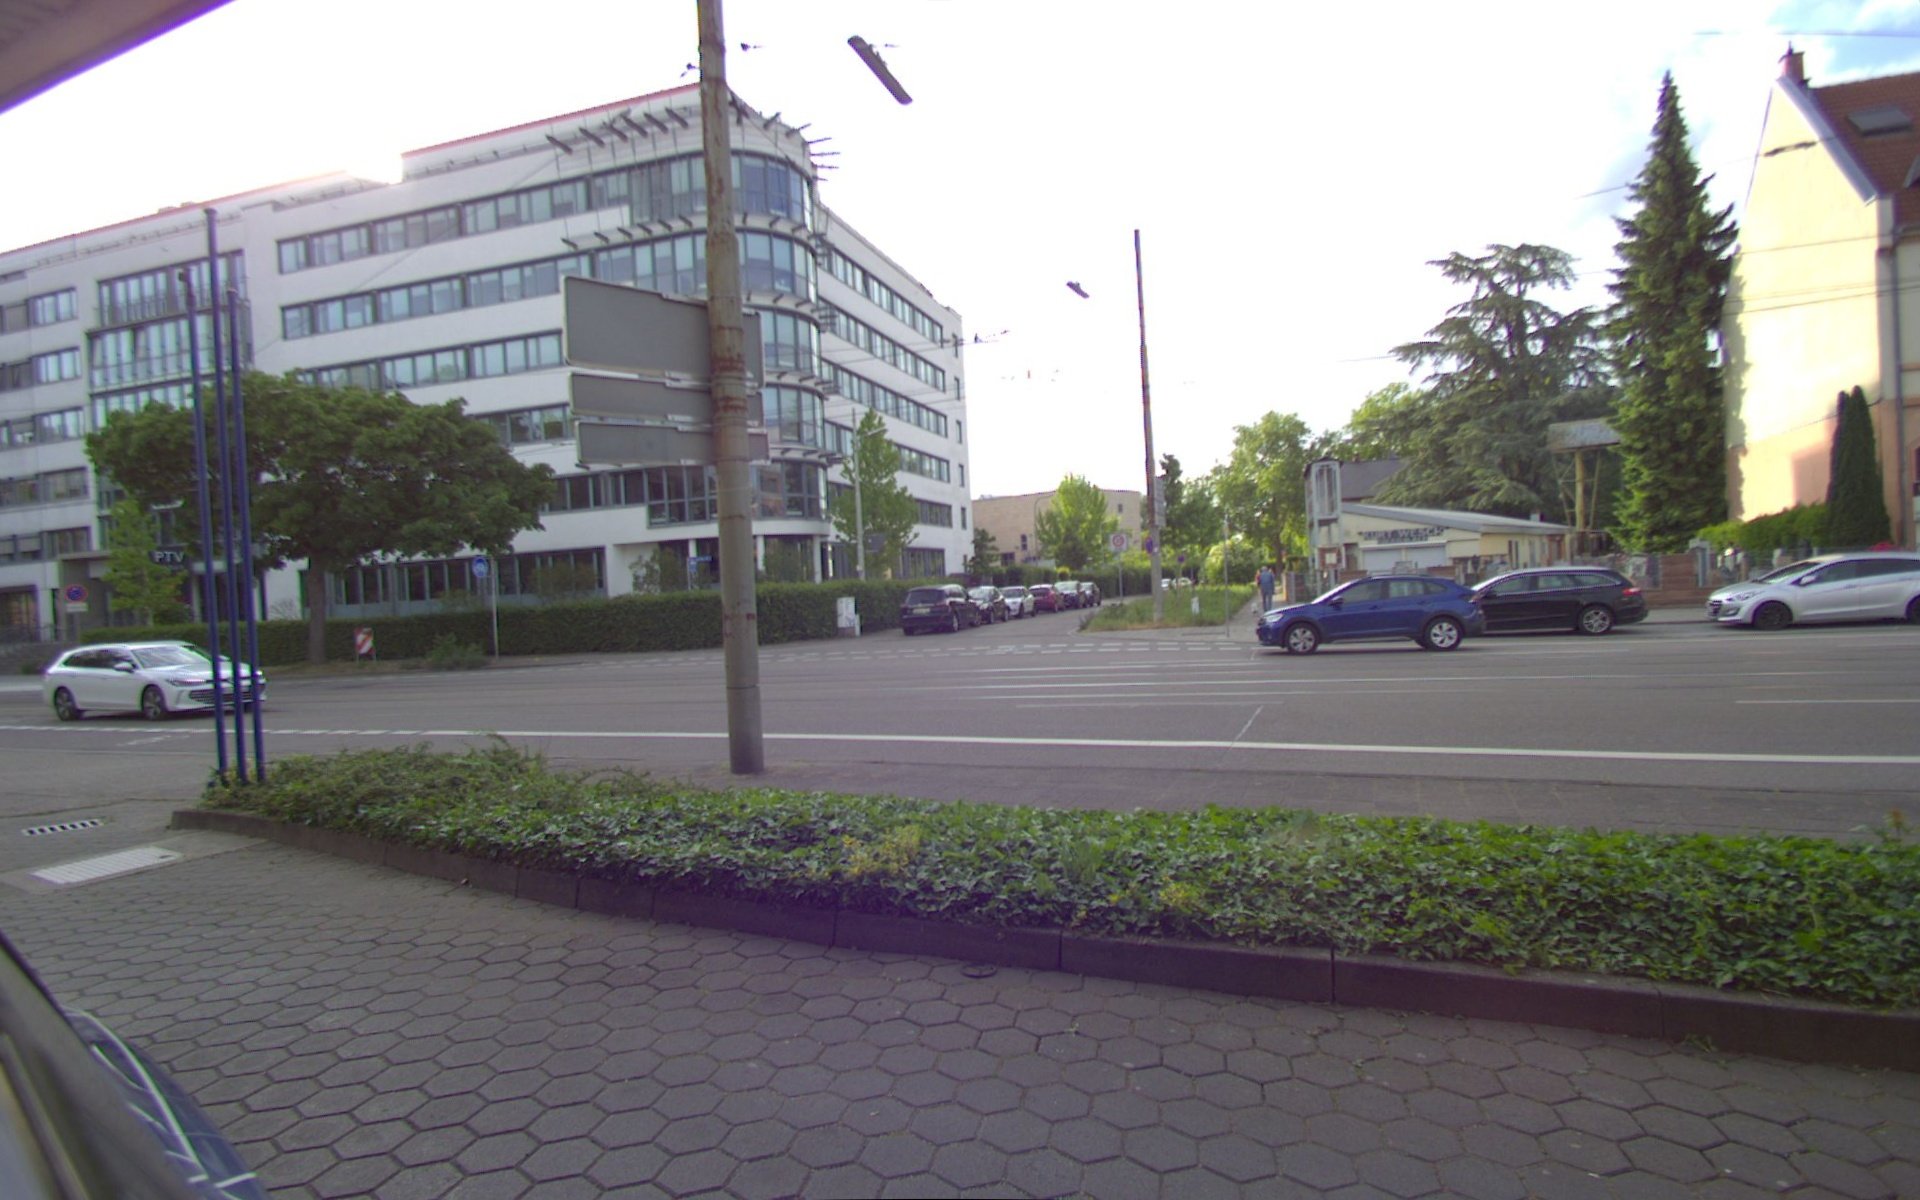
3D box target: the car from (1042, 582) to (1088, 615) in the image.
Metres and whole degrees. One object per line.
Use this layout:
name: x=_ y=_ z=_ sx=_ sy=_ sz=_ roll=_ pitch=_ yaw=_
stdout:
car: x=6.042 y=-0.136 z=57.801 sx=1.807 sy=1.704 sz=4.392 roll=-4 pitch=0 yaw=16

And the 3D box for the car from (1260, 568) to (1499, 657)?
car: x=8.143 y=0.246 z=20.058 sx=4.101 sy=1.480 sz=1.854 roll=-3 pitch=0 yaw=16

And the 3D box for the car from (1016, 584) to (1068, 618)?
car: x=4.311 y=0.023 z=52.403 sx=1.807 sy=1.589 sz=4.175 roll=-4 pitch=0 yaw=16

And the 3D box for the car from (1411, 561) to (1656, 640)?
car: x=13.026 y=0.006 z=23.364 sx=4.632 sy=1.533 sz=1.842 roll=-3 pitch=2 yaw=22

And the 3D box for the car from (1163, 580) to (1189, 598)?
car: x=22.843 y=-1.157 z=106.852 sx=1.813 sy=1.654 sz=4.040 roll=-4 pitch=0 yaw=25

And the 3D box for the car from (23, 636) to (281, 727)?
car: x=-16.158 y=1.612 z=20.234 sx=4.794 sy=1.520 sz=1.851 roll=-2 pitch=2 yaw=22

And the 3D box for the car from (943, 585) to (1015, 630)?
car: x=0.843 y=0.271 z=40.977 sx=1.807 sy=1.589 sz=4.175 roll=-4 pitch=0 yaw=16

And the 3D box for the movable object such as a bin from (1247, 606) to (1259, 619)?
movable object such as a bin: x=10.091 y=0.432 z=34.836 sx=0.363 sy=0.397 sz=0.660 roll=-2 pitch=2 yaw=14

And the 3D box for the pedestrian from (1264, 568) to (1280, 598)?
pedestrian: x=19.894 y=-1.069 z=64.528 sx=0.965 sy=1.896 sz=1.056 roll=-1 pitch=0 yaw=18

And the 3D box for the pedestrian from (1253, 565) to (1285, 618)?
pedestrian: x=10.416 y=-0.289 z=34.147 sx=0.901 sy=1.712 sz=0.921 roll=-3 pitch=2 yaw=15

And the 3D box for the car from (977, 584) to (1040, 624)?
car: x=2.236 y=0.152 z=45.682 sx=1.807 sy=1.589 sz=4.175 roll=-4 pitch=0 yaw=16

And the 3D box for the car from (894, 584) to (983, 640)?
car: x=-0.675 y=0.358 z=35.562 sx=1.807 sy=1.701 sz=4.370 roll=-4 pitch=1 yaw=16

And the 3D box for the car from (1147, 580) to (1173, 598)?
car: x=19.966 y=-1.137 z=100.905 sx=1.811 sy=1.654 sz=4.044 roll=-4 pitch=0 yaw=22

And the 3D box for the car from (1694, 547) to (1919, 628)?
car: x=18.419 y=-0.270 z=21.394 sx=4.349 sy=1.493 sz=1.732 roll=-3 pitch=1 yaw=22

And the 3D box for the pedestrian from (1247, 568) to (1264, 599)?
pedestrian: x=18.949 y=-1.050 z=64.844 sx=0.965 sy=1.896 sz=1.056 roll=-1 pitch=0 yaw=18

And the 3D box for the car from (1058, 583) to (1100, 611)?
car: x=7.396 y=-0.213 z=62.567 sx=1.807 sy=1.585 sz=4.052 roll=-4 pitch=0 yaw=16
